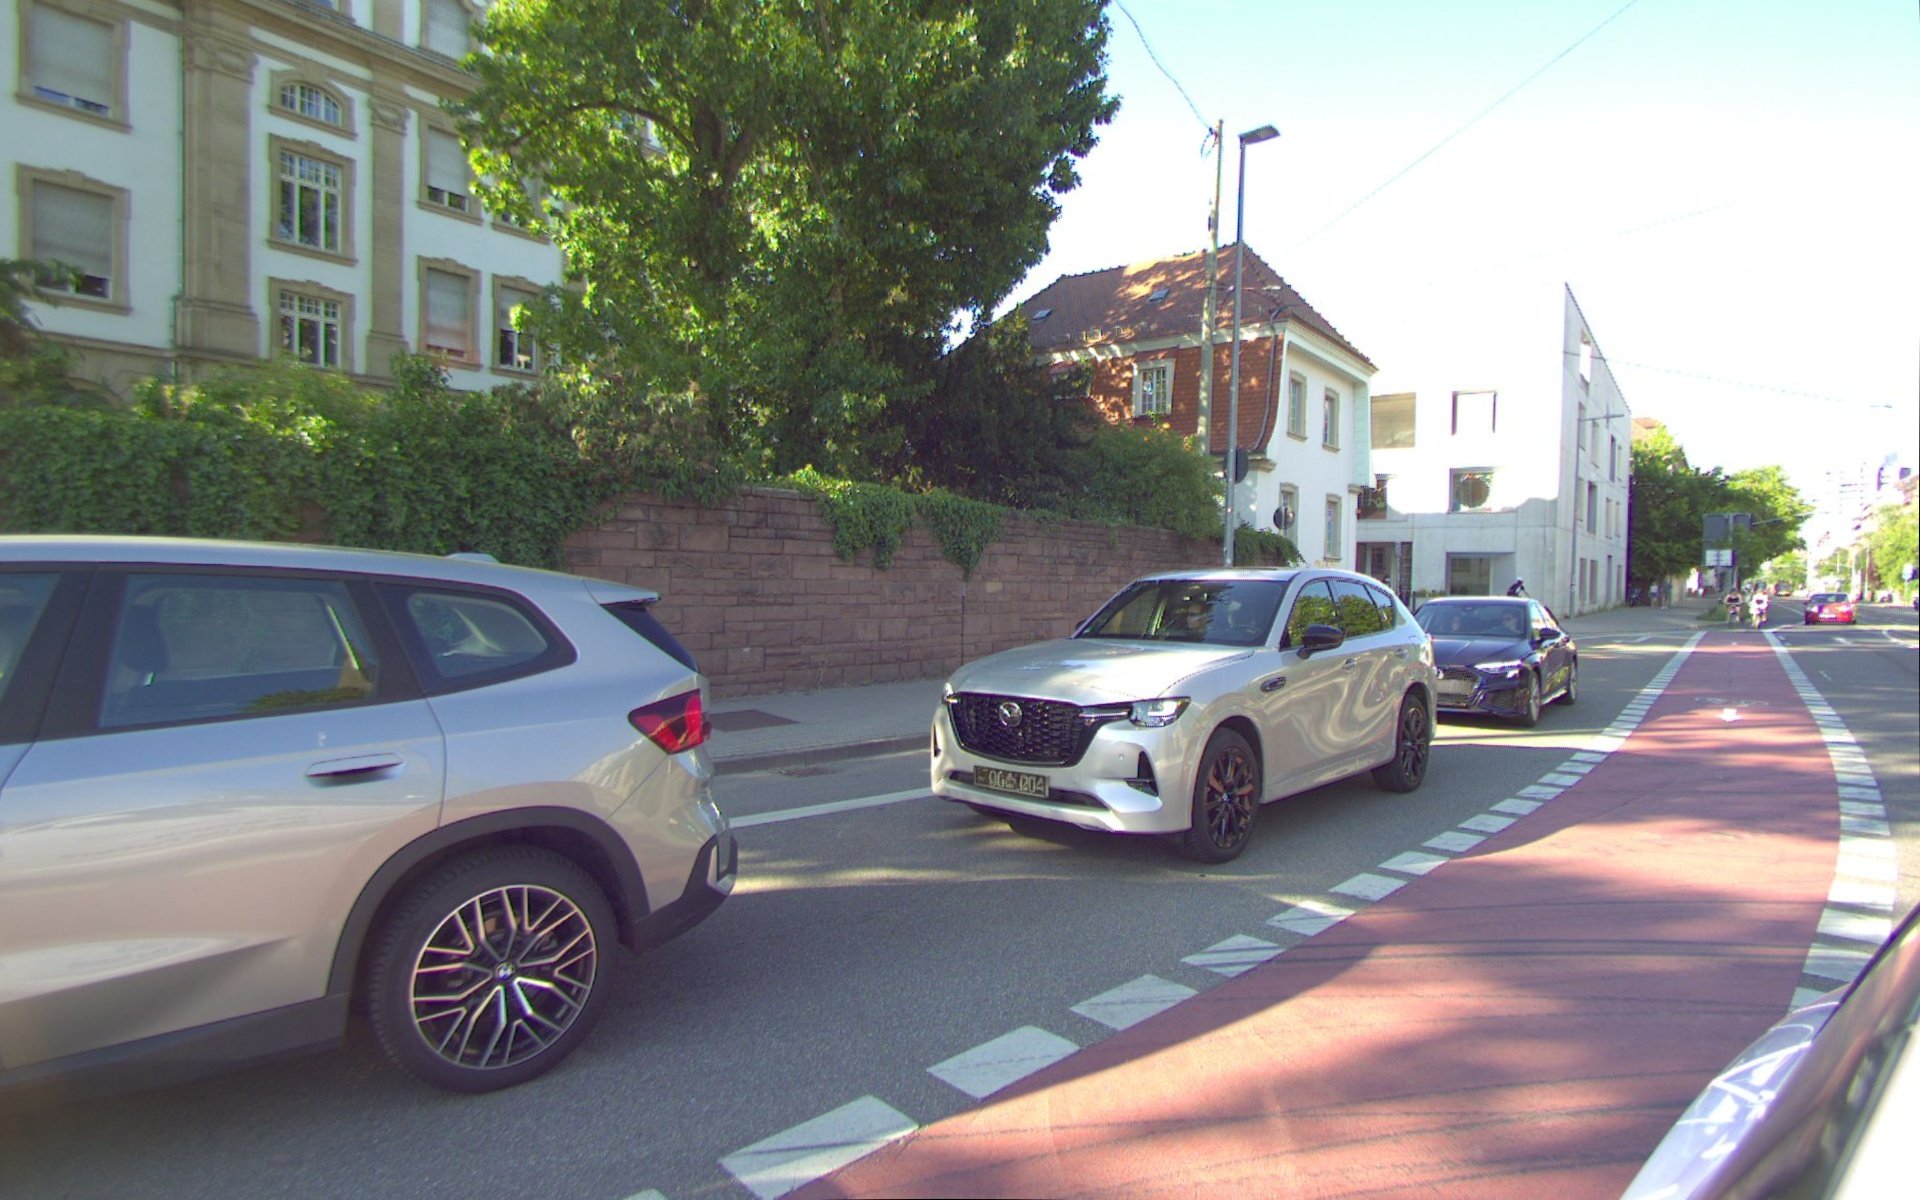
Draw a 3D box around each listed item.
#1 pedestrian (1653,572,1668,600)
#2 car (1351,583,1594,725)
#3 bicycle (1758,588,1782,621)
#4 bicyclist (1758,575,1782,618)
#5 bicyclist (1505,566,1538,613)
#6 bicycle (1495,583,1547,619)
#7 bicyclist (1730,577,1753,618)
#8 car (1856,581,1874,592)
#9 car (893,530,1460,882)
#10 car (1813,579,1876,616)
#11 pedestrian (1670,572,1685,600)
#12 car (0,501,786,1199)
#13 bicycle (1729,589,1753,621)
[{"bbox_3d":[42.530,-0.834,61.419,0.673,1.668,0.806,1,1,40],"label":"pedestrian"},{"bbox_3d":[6.412,0.526,12.437,1.782,1.451,3.941,0,1,41],"label":"car"},{"bbox_3d":[32.119,0.161,40.123,0.673,1.265,2.421,2,2,40],"label":"bicycle"},{"bbox_3d":[32.080,-0.150,40.062,0.673,1.667,1.014,2,2,40],"label":"bicyclist"},{"bbox_3d":[20.356,-0.394,36.690,1.010,1.667,0.675,0,2,-37],"label":"bicyclist"},{"bbox_3d":[20.361,0.029,36.704,2.411,1.266,0.676,0,2,-37],"label":"bicycle"},{"bbox_3d":[32.299,-0.104,41.827,0.673,1.667,1.014,2,2,40],"label":"bicyclist"},{"bbox_3d":[133.838,-1.959,149.715,1.640,1.580,3.602,0,0,36],"label":"car"},{"bbox_3d":[1.810,0.491,7.226,1.940,1.713,4.460,0,1,44],"label":"car"},{"bbox_3d":[39.490,-0.113,45.152,3.586,1.580,1.647,-1,0,-41],"label":"car"},{"bbox_3d":[43.116,-0.842,60.793,0.673,1.668,0.806,1,1,40],"label":"pedestrian"},{"bbox_3d":[-2.831,0.577,2.956,4.248,1.614,1.792,0,0,-36],"label":"car"},{"bbox_3d":[32.325,0.183,41.870,0.673,1.265,2.421,2,2,40],"label":"bicycle"}]
